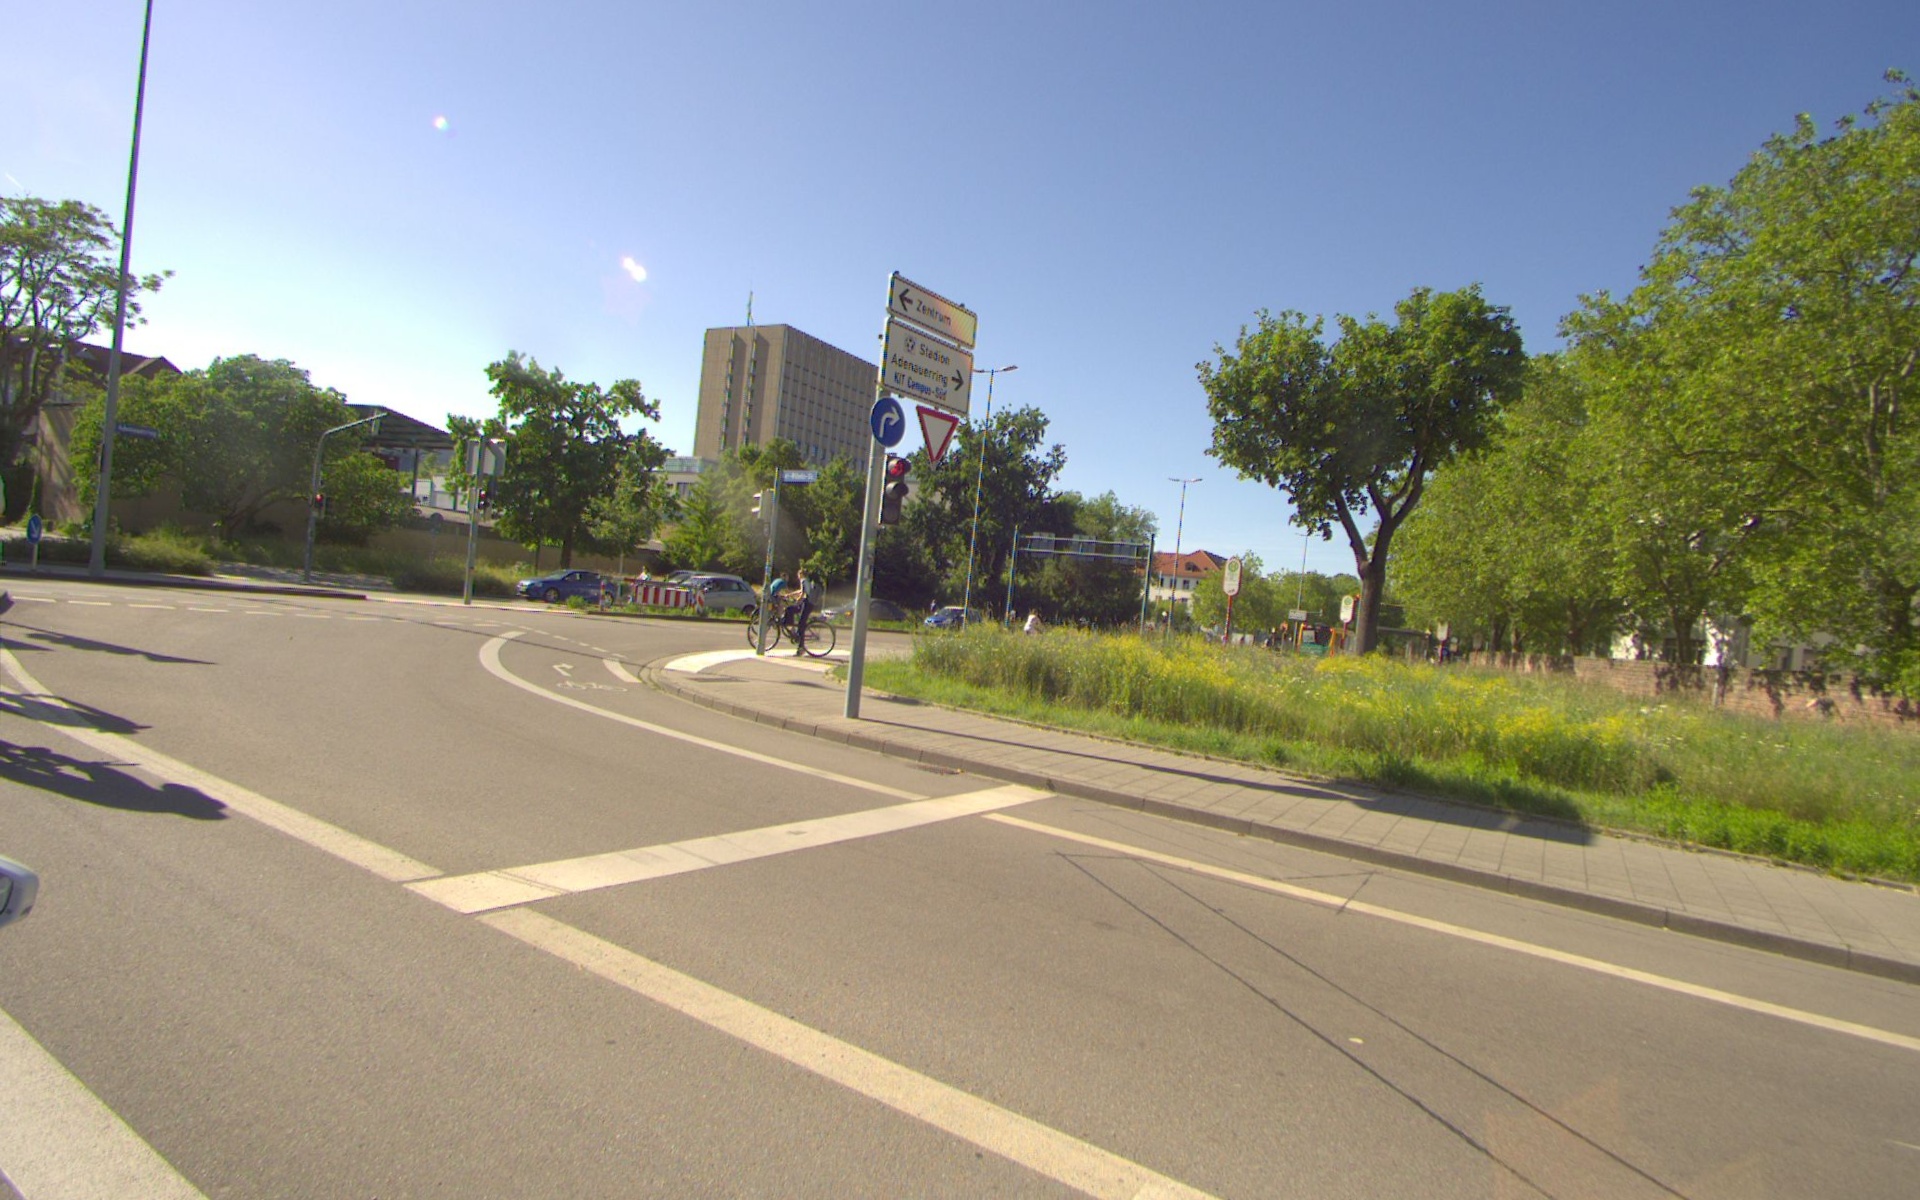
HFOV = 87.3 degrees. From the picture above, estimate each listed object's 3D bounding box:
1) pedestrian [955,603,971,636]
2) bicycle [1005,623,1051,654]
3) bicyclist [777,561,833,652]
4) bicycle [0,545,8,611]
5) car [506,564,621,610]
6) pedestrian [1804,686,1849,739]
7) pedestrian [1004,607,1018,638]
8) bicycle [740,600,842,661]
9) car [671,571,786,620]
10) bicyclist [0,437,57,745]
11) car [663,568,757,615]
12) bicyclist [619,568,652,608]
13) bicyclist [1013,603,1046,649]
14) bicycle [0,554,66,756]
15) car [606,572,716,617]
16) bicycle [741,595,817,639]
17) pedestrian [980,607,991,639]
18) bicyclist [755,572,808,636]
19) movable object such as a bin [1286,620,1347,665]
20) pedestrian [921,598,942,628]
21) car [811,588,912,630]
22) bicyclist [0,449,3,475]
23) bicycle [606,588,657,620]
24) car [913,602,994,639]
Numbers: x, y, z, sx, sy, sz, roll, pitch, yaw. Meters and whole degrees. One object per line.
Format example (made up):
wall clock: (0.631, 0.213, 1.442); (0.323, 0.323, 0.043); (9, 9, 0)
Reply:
pedestrian: (0.245, 1.516, 77.742); (0.660, 2.451, 0.770); (6, -1, 34)
bicycle: (2.433, 1.382, 35.633); (0.514, 1.000, 1.965); (7, 1, 39)
bicyclist: (-3.036, 0.123, 19.707); (0.898, 1.667, 0.630); (6, 1, -9)
bicycle: (-8.172, 0.024, 7.738); (1.890, 1.102, 0.690); (6, -1, 32)
car: (-16.211, -0.527, 41.318); (1.767, 1.415, 3.986); (7, 0, 37)
pedestrian: (25.797, 3.331, 29.956); (0.712, 1.460, 0.523); (7, -1, 2)
pedestrian: (4.142, 1.829, 81.495); (0.710, 2.451, 0.585); (6, -1, 34)
bicycle: (-3.290, 0.590, 19.679); (1.856, 0.970, 0.635); (7, 1, -10)
car: (-8.740, -0.131, 38.290); (1.767, 1.415, 3.986); (7, 0, 37)
bicyclist: (-6.213, -0.107, 6.088); (1.123, 1.813, 0.684); (7, 0, 32)
car: (-11.844, -0.368, 47.796); (1.767, 1.771, 3.986); (7, 0, 37)
bicyclist: (-12.192, -0.447, 37.849); (0.602, 1.360, 0.874); (7, 1, 37)
bicyclist: (2.459, 0.941, 35.602); (0.509, 1.548, 1.067); (7, 2, 39)
bicycle: (-6.265, 0.238, 6.083); (1.890, 1.102, 0.690); (6, -1, 32)
car: (-12.300, -0.201, 41.571); (1.767, 1.415, 3.986); (7, 0, 37)
bicycle: (-4.610, 0.450, 25.717); (0.640, 0.986, 1.895); (7, 1, 39)
pedestrian: (2.068, 1.843, 80.127); (0.401, 2.451, 0.467); (6, -1, 34)
bicyclist: (-4.563, 0.113, 25.732); (0.632, 1.533, 1.049); (7, 2, 39)
movable object such as a bin: (27.022, 3.281, 75.931); (2.954, 2.898, 9.178); (6, 0, 27)
pedestrian: (-2.113, 0.979, 73.923); (0.752, 2.039, 1.267); (7, 1, 36)
car: (-4.310, 0.435, 44.631); (1.767, 1.415, 4.557); (7, 0, 37)
bicyclist: (-8.071, -0.431, 7.710); (1.123, 1.614, 0.679); (7, 0, 32)
bicycle: (-12.322, 0.163, 37.776); (0.602, 1.046, 1.681); (7, 0, 37)
car: (-0.296, 1.050, 50.458); (1.916, 1.415, 3.986); (6, 0, 37)
